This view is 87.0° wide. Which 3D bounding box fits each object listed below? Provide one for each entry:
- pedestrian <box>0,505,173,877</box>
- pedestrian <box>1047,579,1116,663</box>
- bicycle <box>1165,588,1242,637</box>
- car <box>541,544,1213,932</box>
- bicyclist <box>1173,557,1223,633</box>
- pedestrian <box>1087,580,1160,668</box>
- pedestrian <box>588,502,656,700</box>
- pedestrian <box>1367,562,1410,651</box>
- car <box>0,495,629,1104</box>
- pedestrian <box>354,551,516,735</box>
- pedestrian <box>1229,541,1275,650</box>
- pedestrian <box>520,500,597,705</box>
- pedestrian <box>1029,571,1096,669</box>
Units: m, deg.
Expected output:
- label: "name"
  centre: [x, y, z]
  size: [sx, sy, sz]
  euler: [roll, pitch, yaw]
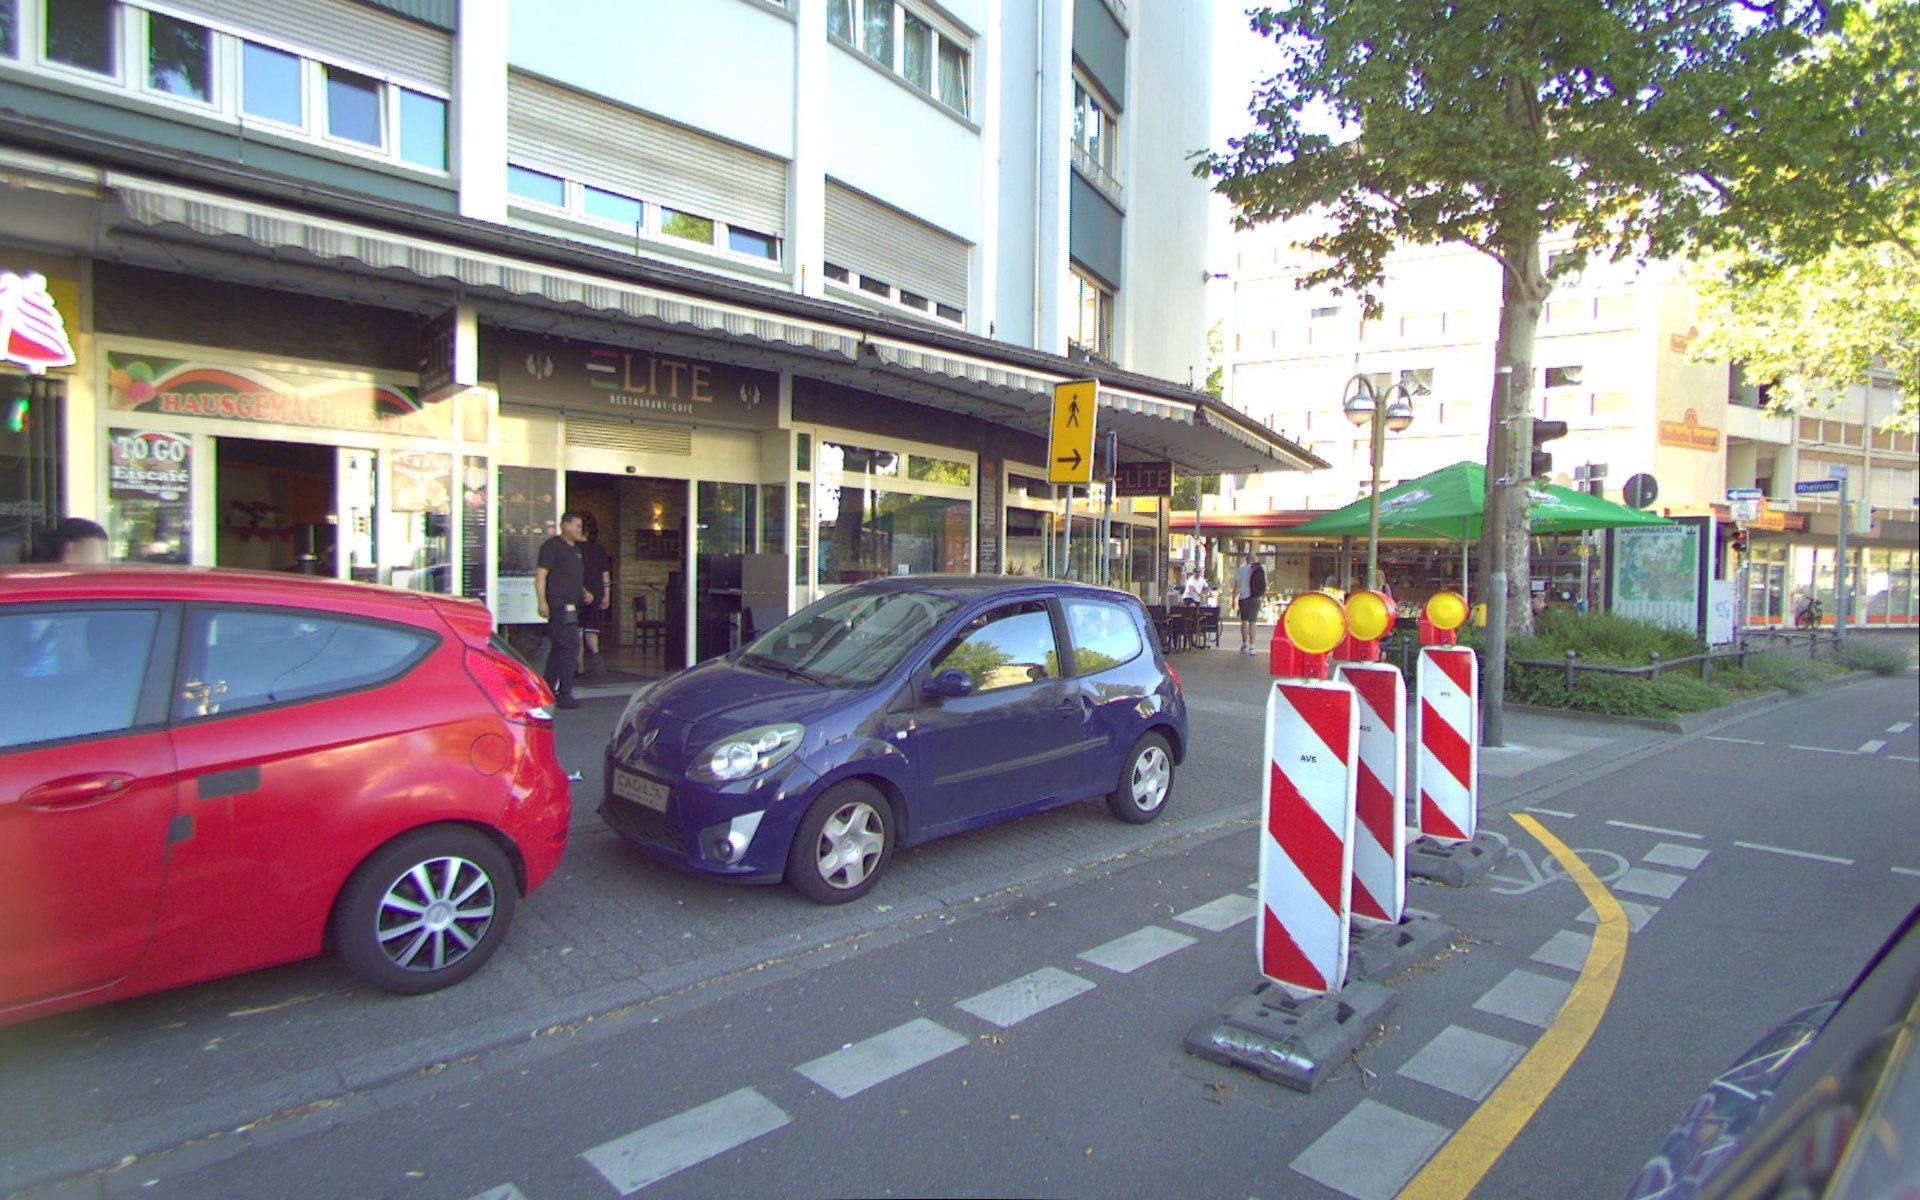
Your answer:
- label: "pedestrian"
  centre: [-4.325, 0.398, 4.896]
  size: [0.783, 1.667, 0.583]
  euler: [0, 2, -42]
- label: "pedestrian"
  centre: [1.826, 0.298, 15.186]
  size: [0.776, 1.207, 0.648]
  euler: [0, 2, -34]
- label: "bicycle"
  centre: [5.974, 0.292, 24.925]
  size: [0.736, 1.144, 1.888]
  euler: [1, 0, -29]
- label: "car"
  centre: [-0.304, 0.505, 5.906]
  size: [3.551, 1.485, 1.769]
  euler: [-1, 5, -44]
- label: "bicyclist"
  centre: [5.896, -0.135, 25.082]
  size: [0.738, 1.849, 0.927]
  euler: [0, 1, -29]
- label: "pedestrian"
  centre: [2.326, 0.325, 14.472]
  size: [0.685, 1.207, 0.881]
  euler: [0, 1, -18]
- label: "pedestrian"
  centre: [-3.149, 0.006, 9.447]
  size: [0.545, 1.803, 0.397]
  euler: [1, 3, -11]
- label: "pedestrian"
  centre: [8.162, 0.106, 19.267]
  size: [0.624, 1.657, 0.525]
  euler: [2, 1, 34]
- label: "car"
  centre: [-3.251, 0.475, 3.221]
  size: [3.761, 1.614, 1.784]
  euler: [-1, 5, -45]
- label: "pedestrian"
  centre: [-4.247, 0.297, 8.170]
  size: [0.937, 1.352, 1.069]
  euler: [0, 2, -41]
- label: "pedestrian"
  centre: [5.489, -0.096, 19.021]
  size: [0.642, 1.983, 0.881]
  euler: [1, 1, 28]
- label: "pedestrian"
  centre: [-3.650, 0.008, 9.195]
  size: [0.547, 1.800, 0.395]
  euler: [-1, 4, -43]
- label: "pedestrian"
  centre: [1.433, 0.264, 14.250]
  size: [0.685, 1.323, 0.793]
  euler: [1, 1, -13]
